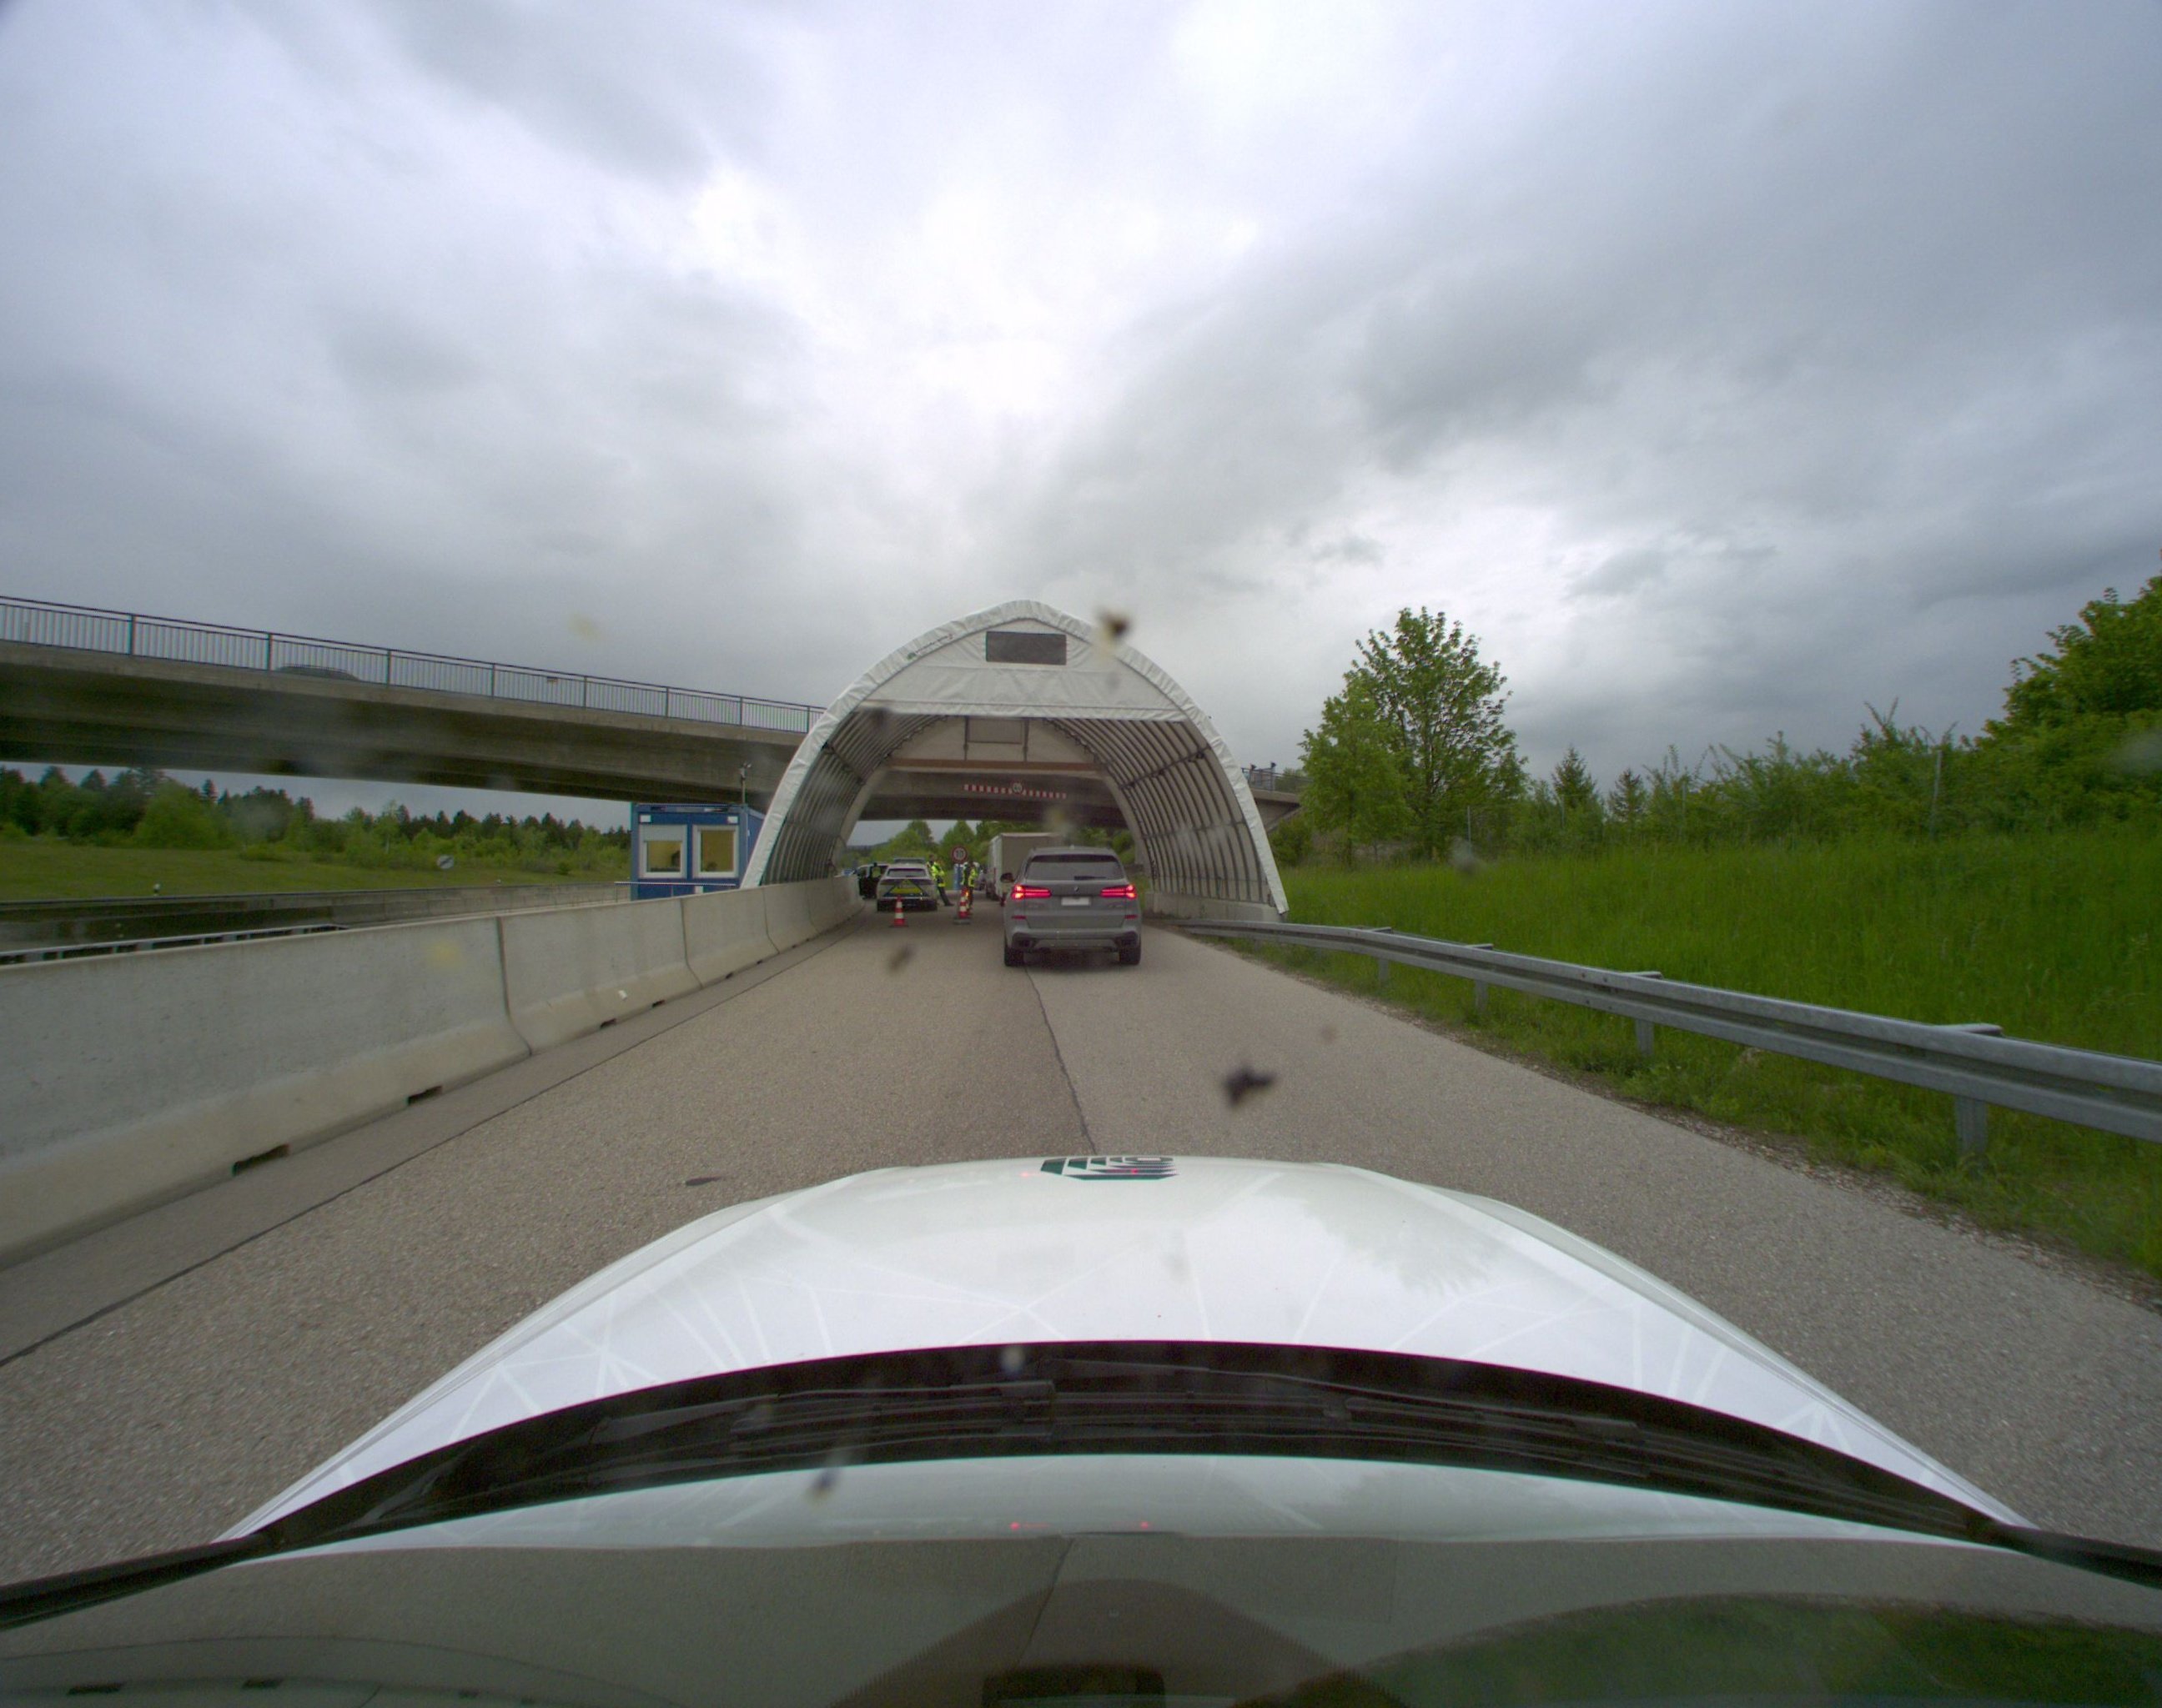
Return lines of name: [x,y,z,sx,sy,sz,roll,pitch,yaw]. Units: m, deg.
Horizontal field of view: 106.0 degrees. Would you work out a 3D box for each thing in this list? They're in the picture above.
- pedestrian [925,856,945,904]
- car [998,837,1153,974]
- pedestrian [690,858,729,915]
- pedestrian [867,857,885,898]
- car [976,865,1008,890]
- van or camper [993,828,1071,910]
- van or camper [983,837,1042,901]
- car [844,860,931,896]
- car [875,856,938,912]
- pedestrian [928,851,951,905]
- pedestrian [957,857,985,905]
pedestrian: [-5.383,0.963,30.108,0.607,1.754,0.665,-1,-1,-4]
car: [-0.260,0.712,12.890,1.992,1.765,3.990,-1,-1,-7]
pedestrian: [-9.235,0.798,20.238,0.606,1.373,0.629,-2,-1,10]
pedestrian: [-10.281,1.178,40.917,0.698,2.014,0.692,-1,-1,1]
car: [-6.459,1.662,58.638,1.994,1.722,3.882,-1,-1,-11]
van or camper: [-1.912,0.524,29.326,2.229,2.552,6.591,-1,-1,-8]
van or camper: [-3.087,0.649,35.622,2.104,2.519,5.532,-1,-1,-10]
car: [-11.704,1.448,49.384,4.777,2.014,1.845,-1,-1,9]
car: [-5.764,0.958,26.960,1.879,1.647,3.983,-1,-1,-12]
pedestrian: [-5.069,0.853,29.132,0.750,1.919,0.759,-1,-1,-13]
pedestrian: [-4.024,0.980,29.871,0.759,1.722,0.775,-1,-1,-29]
